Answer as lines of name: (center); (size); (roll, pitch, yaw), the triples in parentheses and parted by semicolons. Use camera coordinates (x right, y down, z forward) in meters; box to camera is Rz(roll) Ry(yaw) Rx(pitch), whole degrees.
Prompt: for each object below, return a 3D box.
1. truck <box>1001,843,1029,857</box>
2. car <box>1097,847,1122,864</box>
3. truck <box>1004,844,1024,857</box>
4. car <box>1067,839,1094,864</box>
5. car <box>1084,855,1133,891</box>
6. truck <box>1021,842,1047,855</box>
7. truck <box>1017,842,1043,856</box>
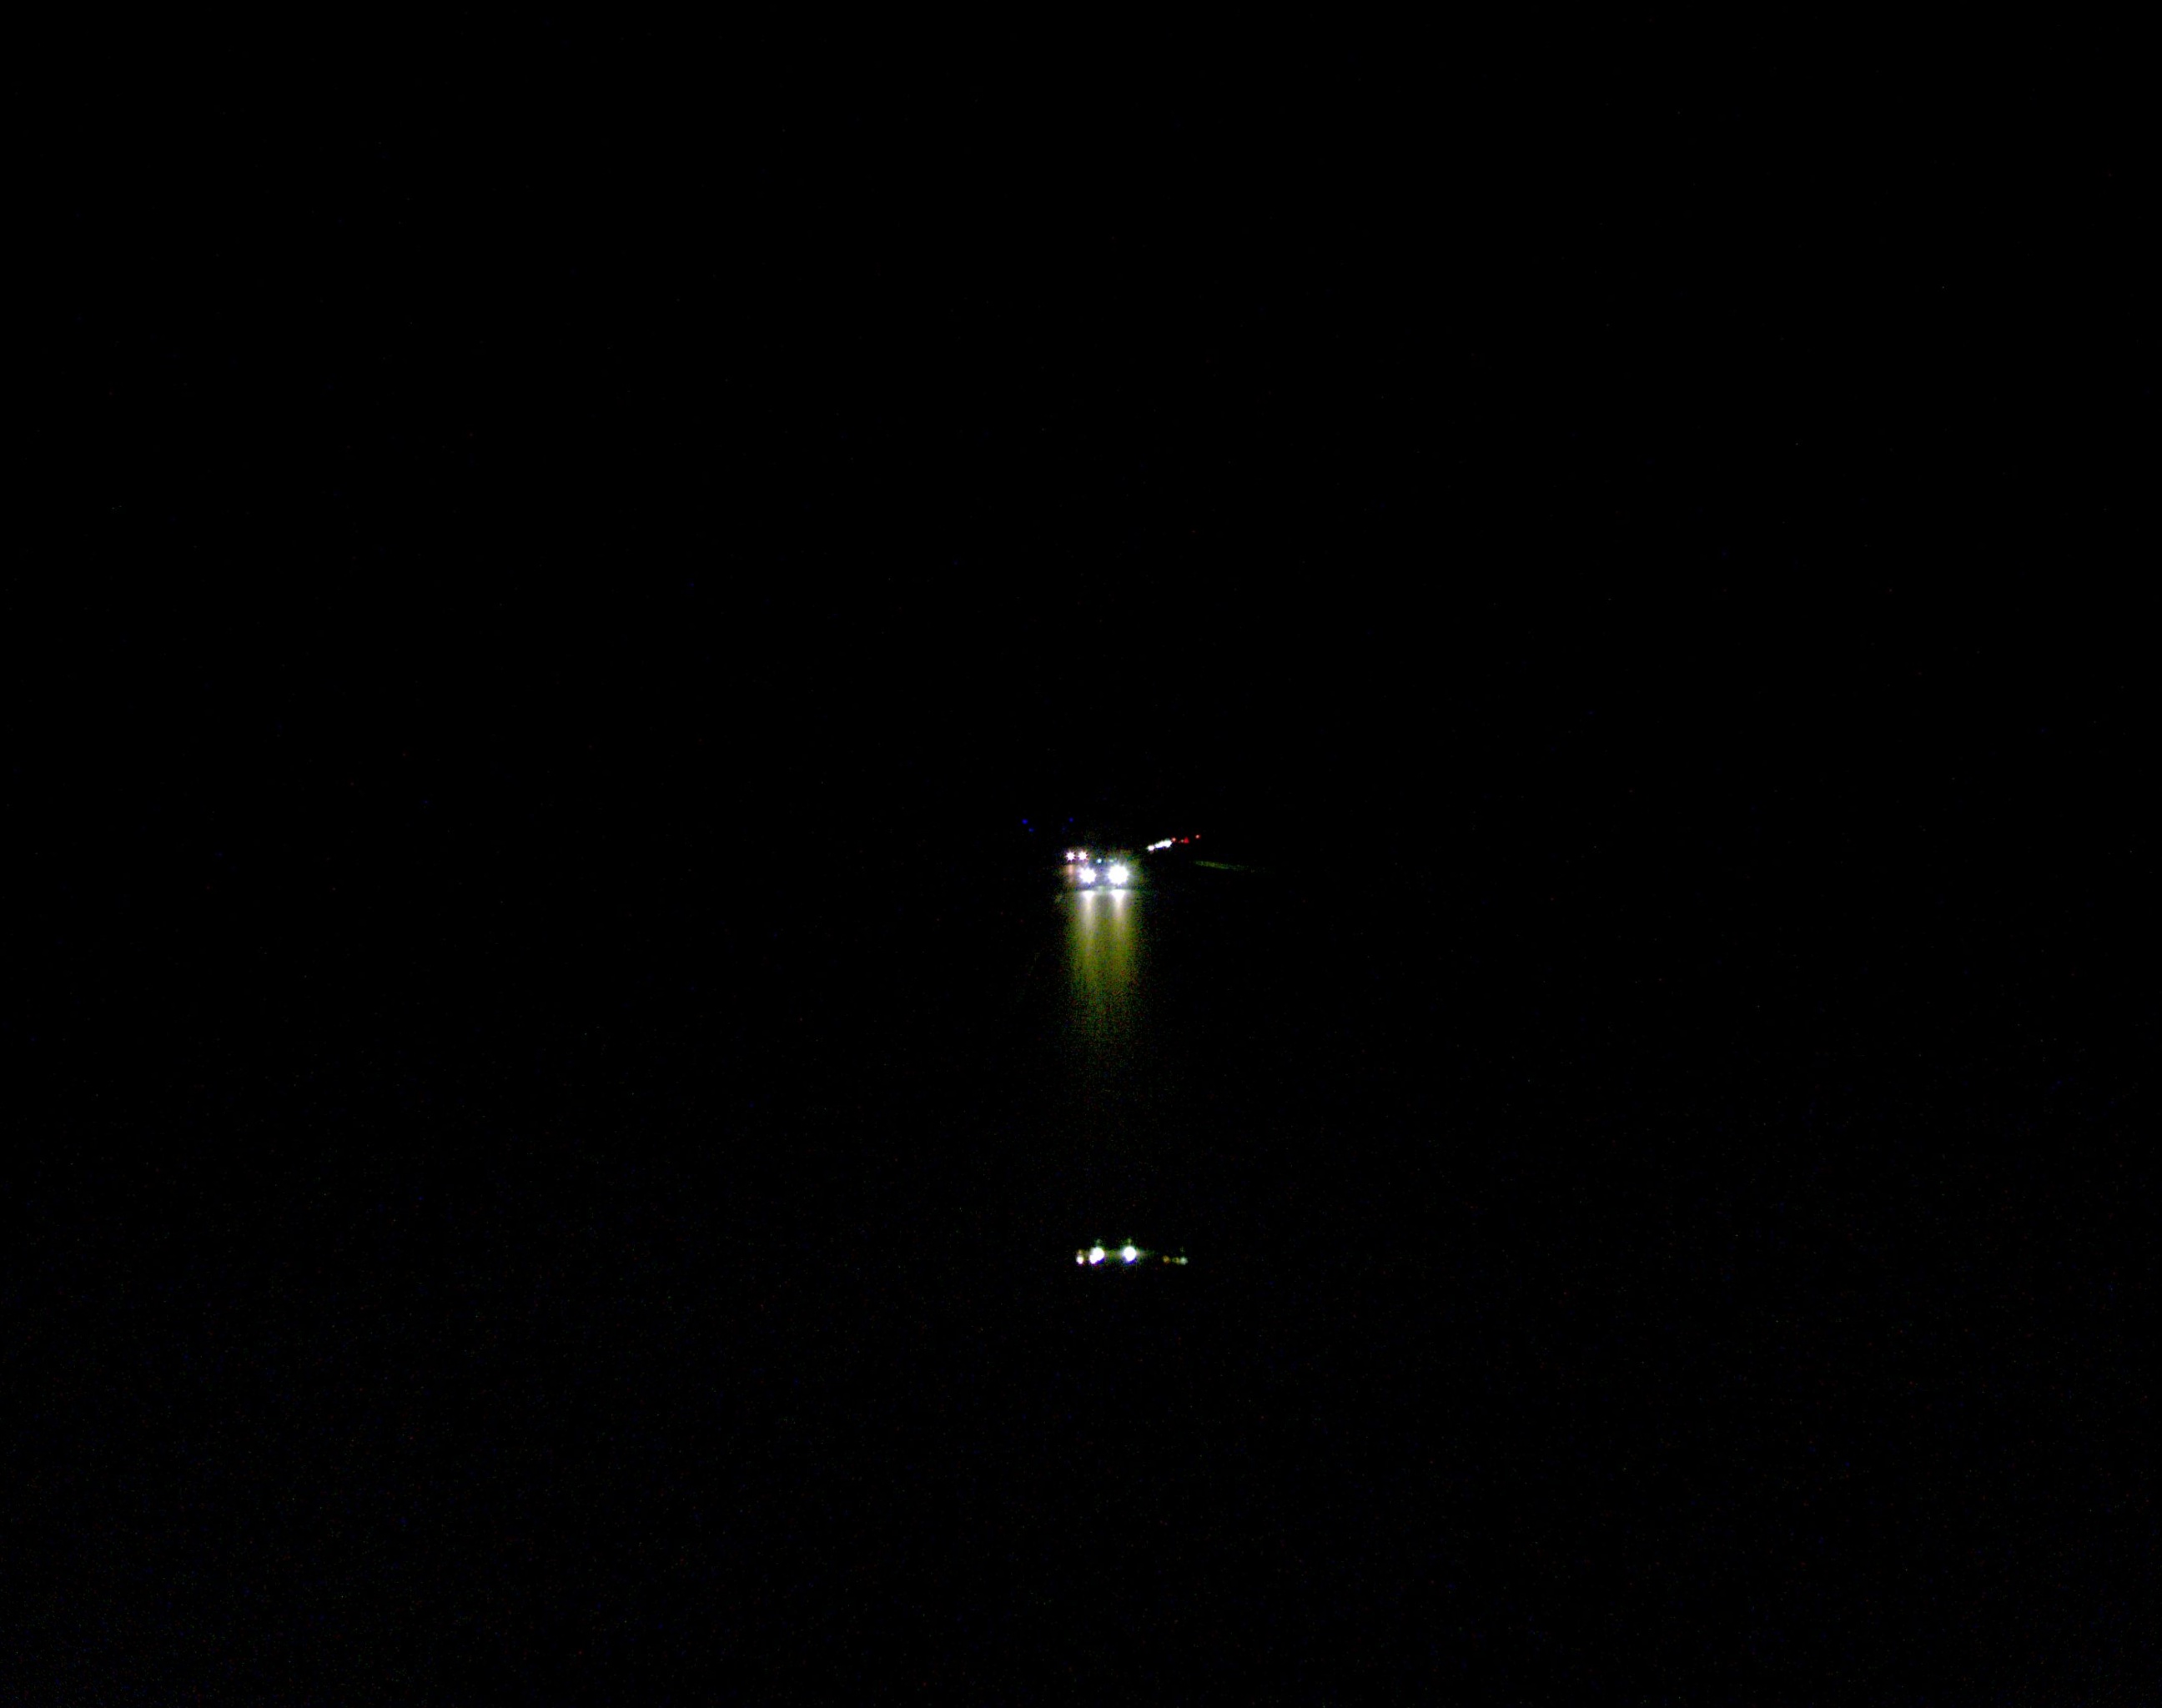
truck: (-20.201, -1.106, 231.128); (3.065, 3.902, 9.637); (-5, 2, -42)
car: (2.758, 0.107, 72.329); (1.997, 1.455, 4.002); (-3, 1, 7)
truck: (-19.715, -0.975, 224.634); (2.537, 3.628, 6.194); (-5, 2, -40)
car: (0.026, -0.374, 95.945); (2.533, 2.888, 6.230); (-3, 1, 7)
car: (1.291, 0.811, 34.445); (1.832, 1.404, 4.002); (-3, 1, 7)
truck: (-15.871, -1.766, 254.549); (3.065, 3.902, 9.637); (-5, 2, -42)
truck: (-16.790, -1.643, 250.589); (2.965, 3.902, 9.637); (-5, 2, -42)
